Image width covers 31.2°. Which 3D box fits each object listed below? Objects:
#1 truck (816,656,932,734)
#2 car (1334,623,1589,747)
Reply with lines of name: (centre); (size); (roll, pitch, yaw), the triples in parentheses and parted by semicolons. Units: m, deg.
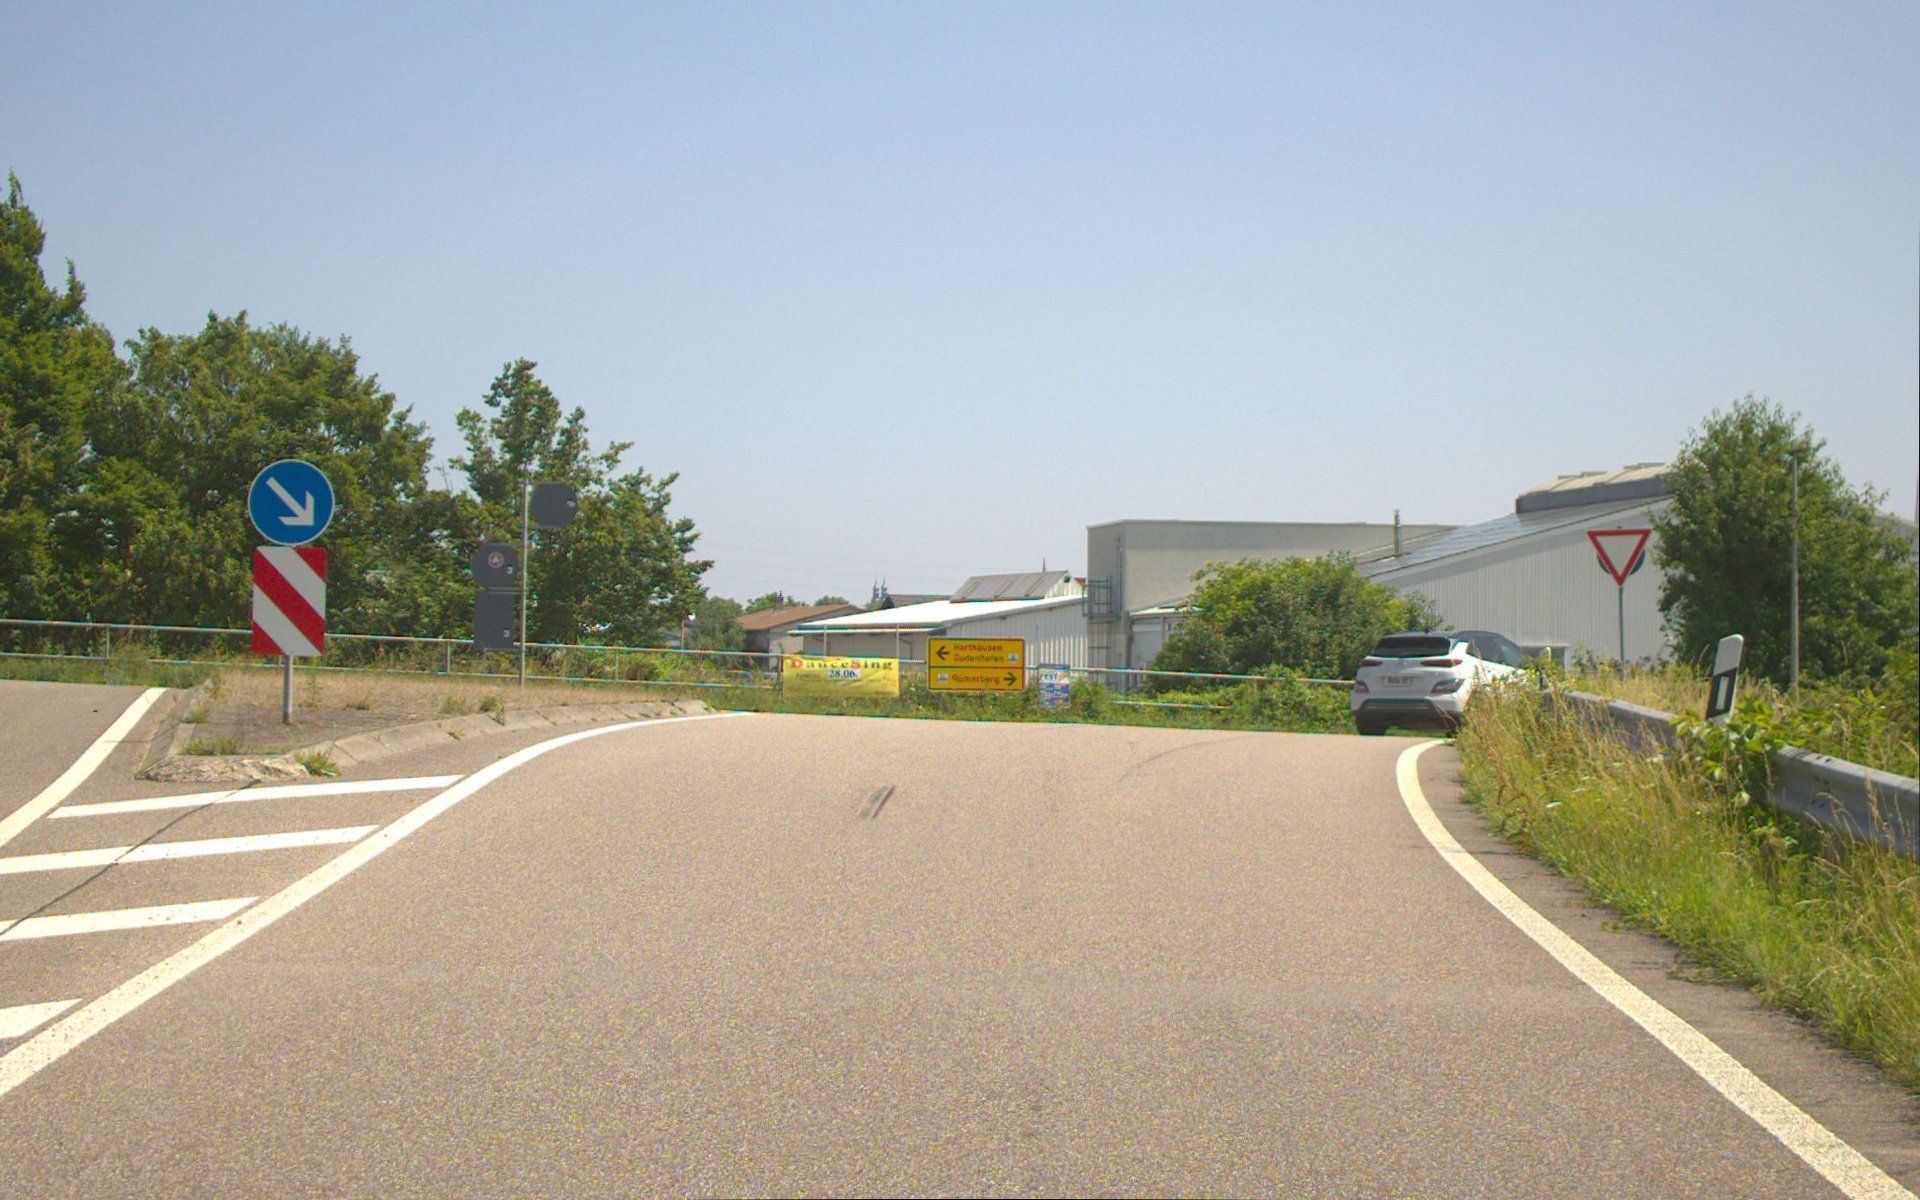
truck: (-5.109, 5.497, 199.901); (3.707, 4.297, 13.344); (3, -2, -14)
car: (7.160, 1.195, 48.829); (1.812, 1.685, 3.991); (-1, -1, 39)
